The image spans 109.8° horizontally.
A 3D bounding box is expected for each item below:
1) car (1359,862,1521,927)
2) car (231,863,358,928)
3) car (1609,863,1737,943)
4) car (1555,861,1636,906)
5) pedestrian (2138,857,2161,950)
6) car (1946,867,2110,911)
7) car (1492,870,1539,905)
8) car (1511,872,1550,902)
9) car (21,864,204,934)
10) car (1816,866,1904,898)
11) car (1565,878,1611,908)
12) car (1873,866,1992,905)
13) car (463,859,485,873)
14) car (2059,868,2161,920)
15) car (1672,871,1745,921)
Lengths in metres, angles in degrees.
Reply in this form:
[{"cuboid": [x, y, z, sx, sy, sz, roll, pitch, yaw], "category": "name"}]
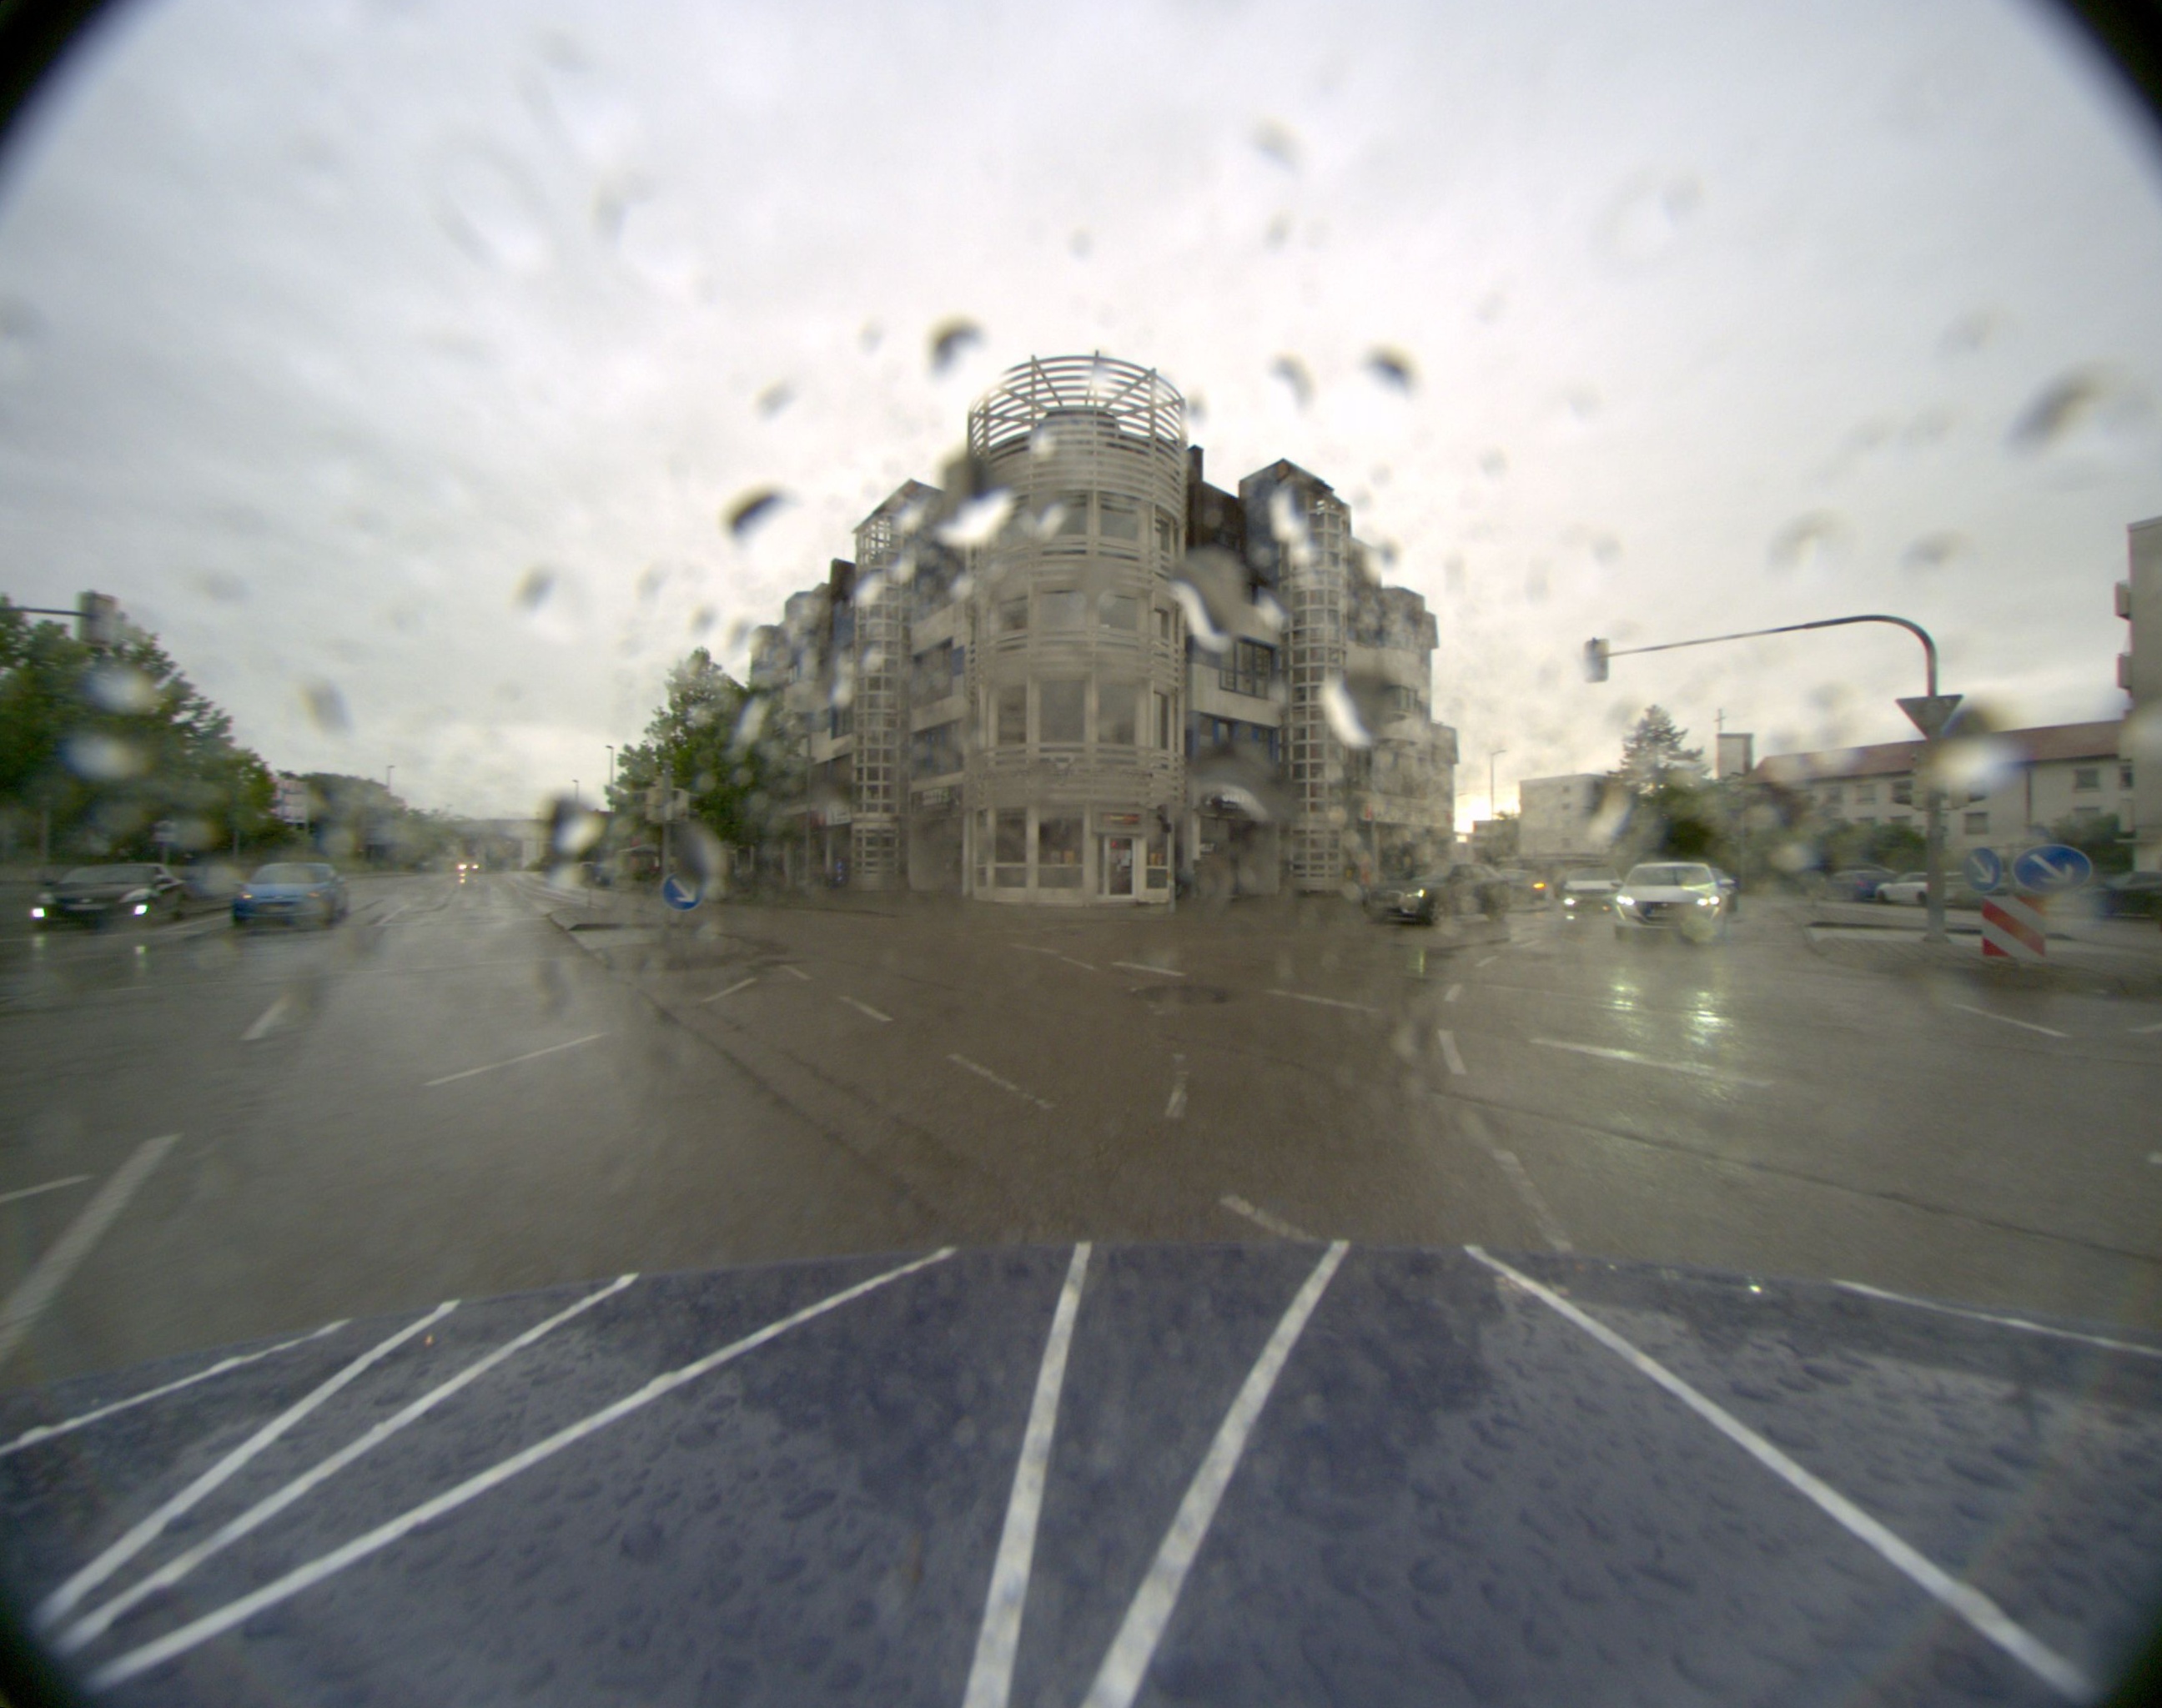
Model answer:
[{"cuboid": [9.027, 0.949, 19.041, 4.054, 1.435, 1.731, 0, -1, -32], "category": "car"}, {"cuboid": [-19.806, 0.970, 19.295, 1.682, 1.389, 3.844, 0, 1, -38], "category": "car"}, {"cuboid": [12.002, 0.922, 15.299, 1.739, 1.401, 3.905, -3, -3, 42], "category": "car"}, {"cuboid": [18.804, 1.063, 27.706, 1.730, 1.519, 4.073, -1, -2, 44], "category": "car"}, {"cuboid": [18.635, 0.835, 12.703, 0.657, 1.576, 0.914, 0, 0, 2], "category": "pedestrian"}, {"cuboid": [34.202, 1.229, 27.655, 1.833, 1.425, 4.281, -1, -1, 21], "category": "car"}, {"cuboid": [19.241, 1.443, 33.624, 1.651, 1.364, 3.739, 3, 0, 30], "category": "car"}, {"cuboid": [22.900, 1.623, 38.747, 1.655, 1.416, 4.009, 0, -1, 30], "category": "car"}, {"cuboid": [-22.754, 0.969, 18.040, 1.747, 1.386, 3.686, 0, 1, -36], "category": "car"}, {"cuboid": [38.587, 1.337, 37.761, 1.630, 1.496, 3.888, 0, -1, 22], "category": "car"}, {"cuboid": [25.959, 1.943, 38.855, 1.797, 1.360, 3.982, 0, 0, 36], "category": "car"}, {"cuboid": [36.255, 1.292, 32.508, 1.634, 1.491, 4.354, 0, -1, 22], "category": "car"}, {"cuboid": [-79.159, 1.541, 99.176, 2.004, 1.765, 3.991, 0, -2, -35], "category": "car"}, {"cuboid": [32.245, 1.161, 22.716, 1.833, 1.451, 4.195, -1, -1, 22], "category": "car"}, {"cuboid": [20.544, 1.317, 24.950, 1.746, 1.446, 3.822, 0, 0, 39], "category": "car"}]
